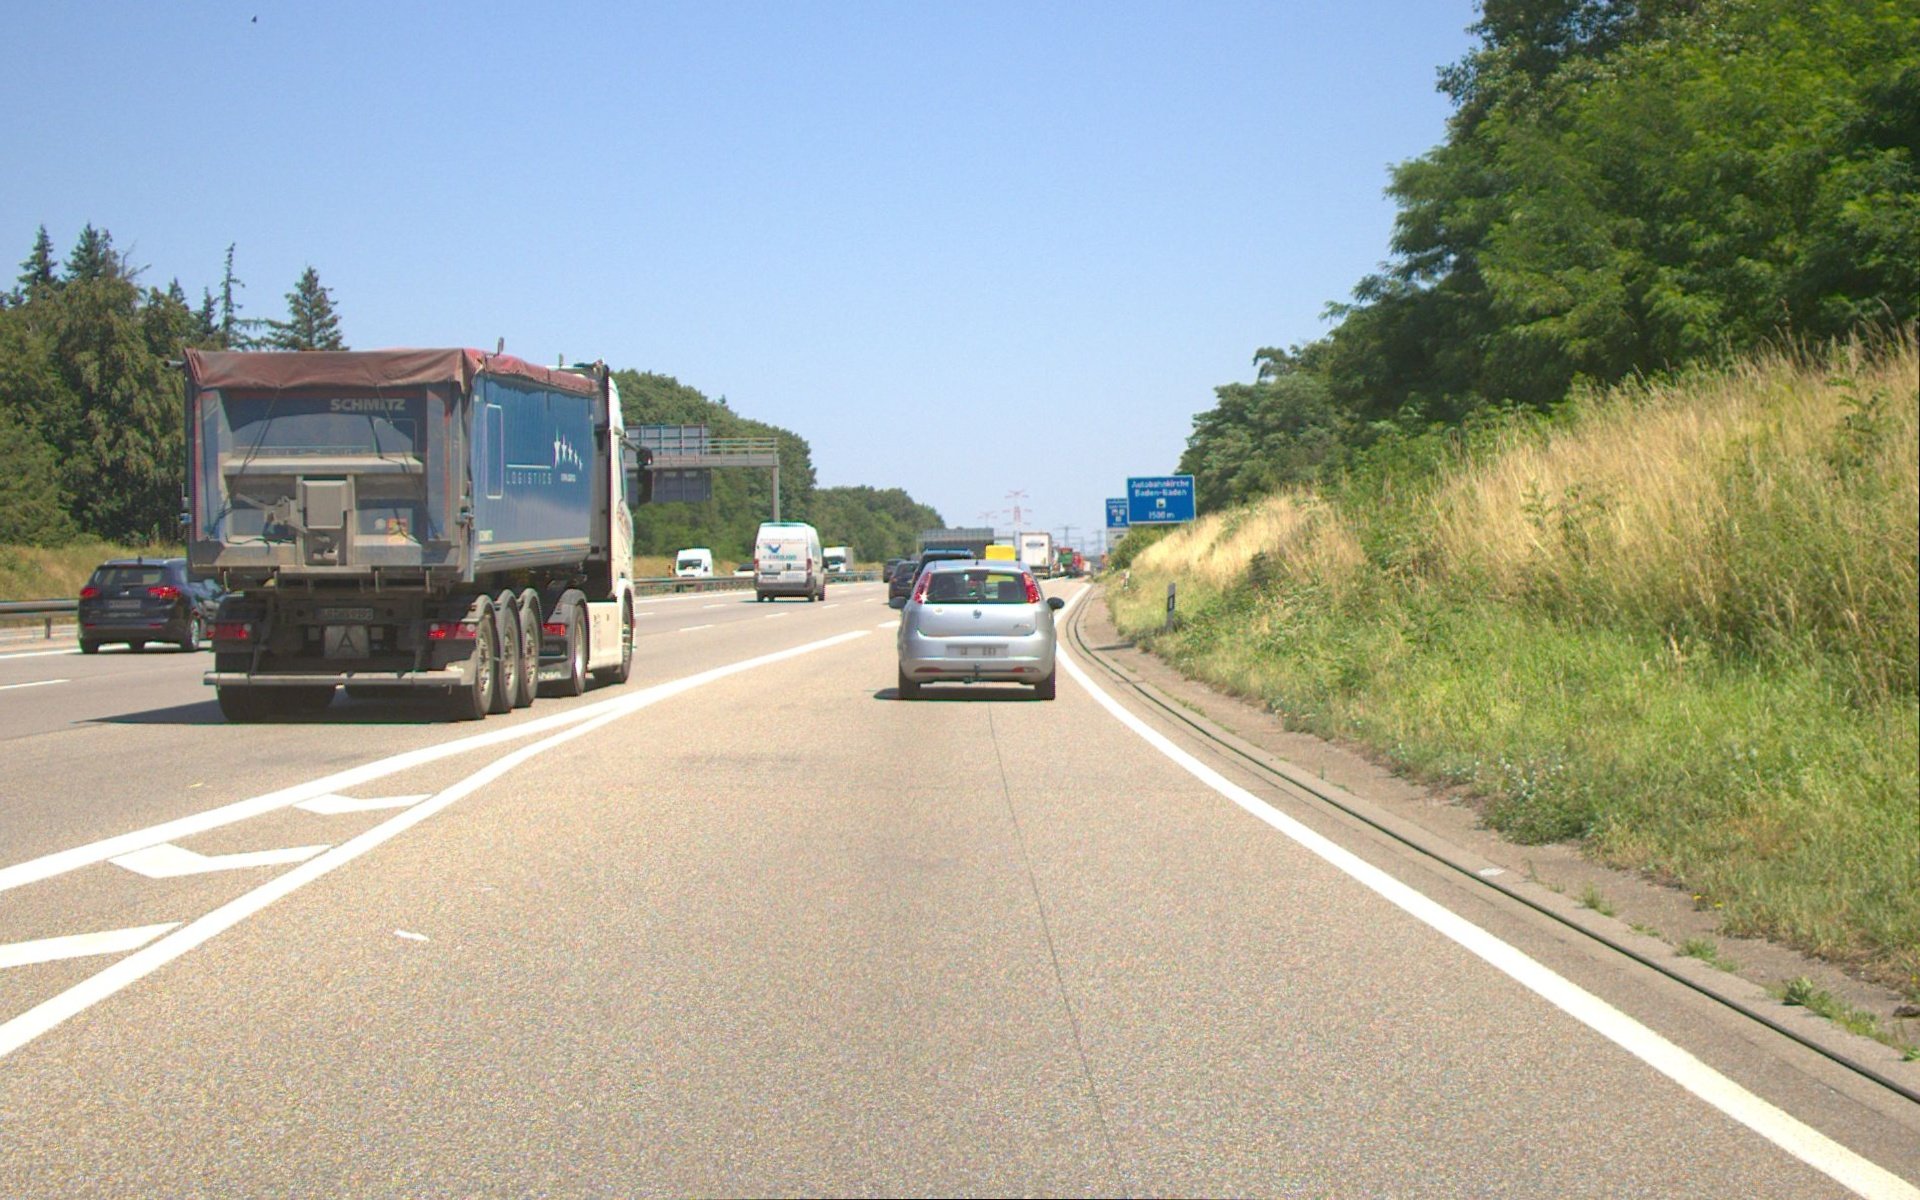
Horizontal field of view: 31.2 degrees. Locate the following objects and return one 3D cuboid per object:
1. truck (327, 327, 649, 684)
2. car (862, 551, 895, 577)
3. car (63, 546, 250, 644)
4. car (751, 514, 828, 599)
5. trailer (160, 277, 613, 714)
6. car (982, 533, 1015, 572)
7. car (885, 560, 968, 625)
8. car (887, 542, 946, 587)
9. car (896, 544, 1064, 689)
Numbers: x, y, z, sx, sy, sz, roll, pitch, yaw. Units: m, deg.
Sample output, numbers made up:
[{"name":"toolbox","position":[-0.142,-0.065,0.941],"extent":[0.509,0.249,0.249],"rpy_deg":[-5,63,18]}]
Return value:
[{"name":"truck","position":[-5.252,-1.035,39.257],"extent":[2.684,3.746,5.944],"rpy_deg":[-1,1,2]},{"name":"car","position":[-5.747,-2.571,242.860],"extent":[2.157,1.808,4.860],"rpy_deg":[0,1,0]},{"name":"car","position":[-12.732,-0.112,54.759],"extent":[1.703,1.469,4.596],"rpy_deg":[-1,1,2]},{"name":"car","position":[-6.024,-1.528,122.292],"extent":[2.260,2.940,6.113],"rpy_deg":[0,0,2]},{"name":"trailer","position":[-5.415,-0.965,34.255],"extent":[2.737,3.746,9.109],"rpy_deg":[-1,1,2]},{"name":"car","position":[2.019,-2.478,178.933],"extent":[1.611,2.007,4.000],"rpy_deg":[0,0,2]},{"name":"car","position":[-0.865,-0.202,91.539],"extent":[1.832,1.666,3.999],"rpy_deg":[1,0,5]},{"name":"car","position":[-1.450,-1.197,115.643],"extent":[1.894,1.464,4.261],"rpy_deg":[0,1,1]},{"name":"car","position":[0.220,0.141,37.189],"extent":[1.719,1.486,3.737],"rpy_deg":[0,1,0]}]
